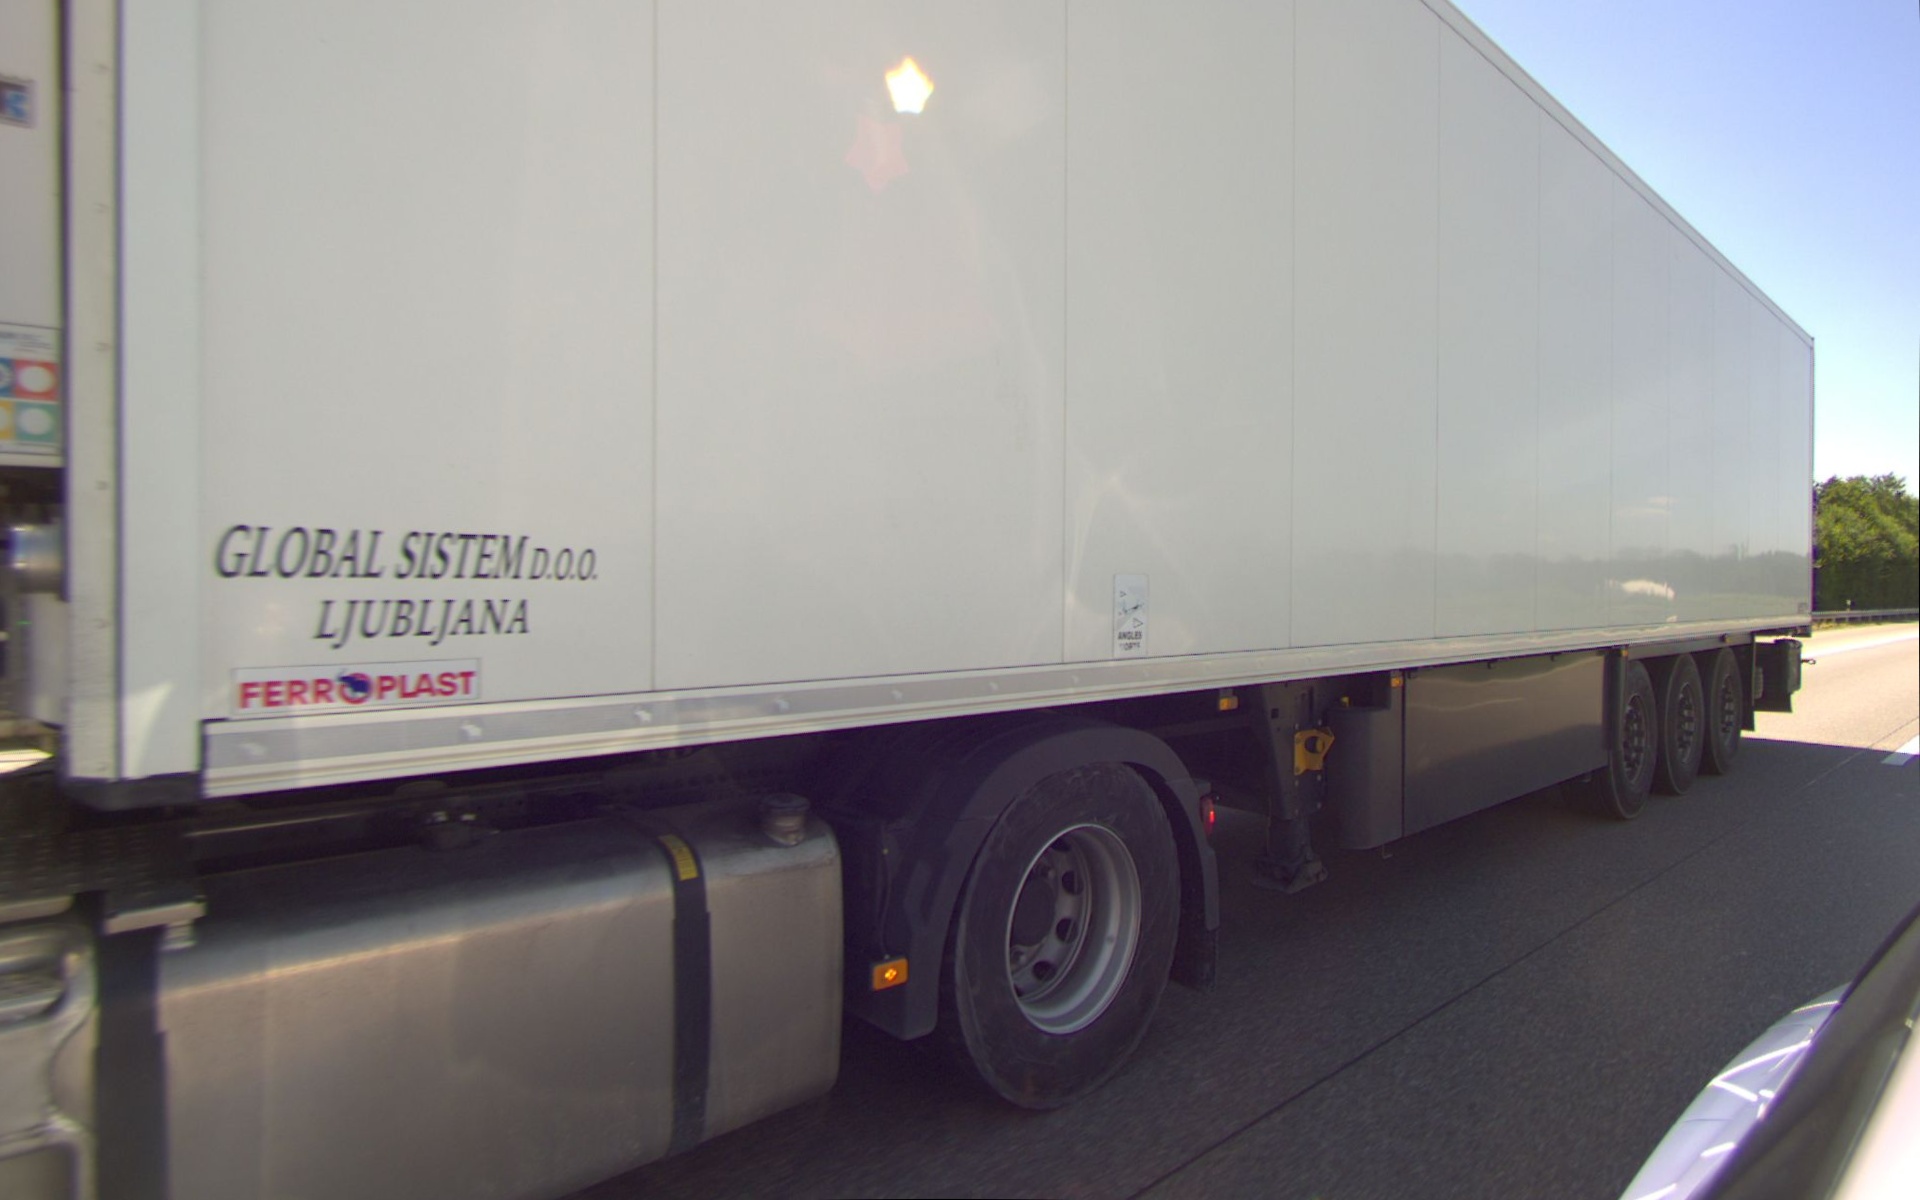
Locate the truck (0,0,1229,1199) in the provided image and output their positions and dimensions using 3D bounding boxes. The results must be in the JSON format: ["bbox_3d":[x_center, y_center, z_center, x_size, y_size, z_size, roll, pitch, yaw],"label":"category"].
[{"bbox_3d":[-2.310,-0.607,2.072,6.210,4.113,2.474,-1,0,-41],"label":"truck"}]

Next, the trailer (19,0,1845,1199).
[{"bbox_3d":[3.078,-0.682,6.786,13.638,4.113,2.474,-1,0,-41],"label":"trailer"}]
